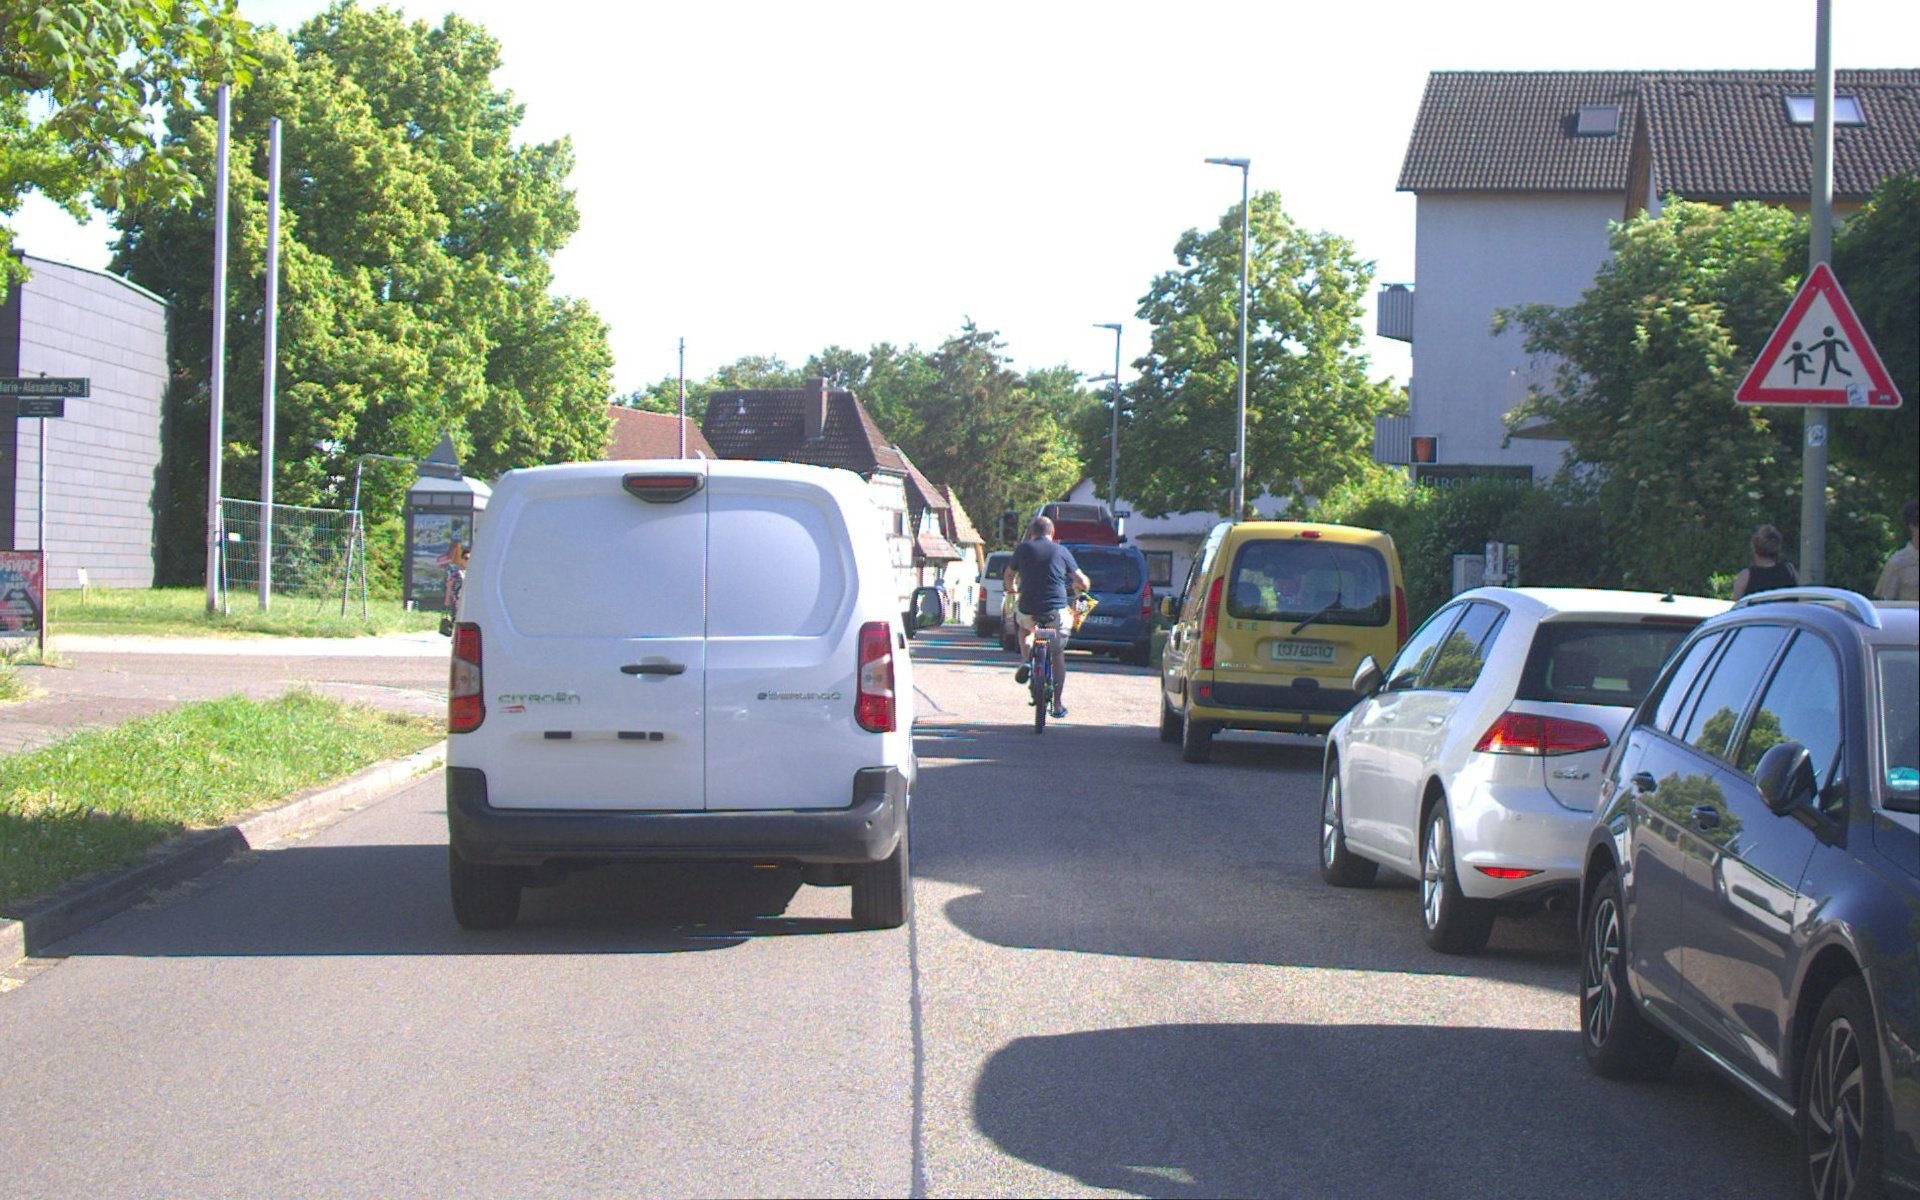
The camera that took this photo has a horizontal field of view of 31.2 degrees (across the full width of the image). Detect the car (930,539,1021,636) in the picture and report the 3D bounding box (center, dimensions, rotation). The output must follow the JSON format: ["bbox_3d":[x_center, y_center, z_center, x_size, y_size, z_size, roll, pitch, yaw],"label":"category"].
[{"bbox_3d":[0.337,-0.287,79.461,1.804,2.061,4.000,4,0,-2],"label":"car"}]

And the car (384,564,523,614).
[{"bbox_3d":[-16.120,-0.360,109.372,3.980,1.424,1.714,2,1,17],"label":"car"}]

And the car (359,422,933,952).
[{"bbox_3d":[-1.166,0.278,14.708,1.993,1.875,4.289,2,1,0],"label":"car"}]

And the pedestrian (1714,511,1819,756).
[{"bbox_3d":[5.473,0.220,23.352,0.567,1.631,0.546,2,1,5],"label":"pedestrian"}]

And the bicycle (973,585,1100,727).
[{"bbox_3d":[0.655,0.451,28.507,0.787,1.135,2.279,0,0,8],"label":"bicycle"}]

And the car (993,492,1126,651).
[{"bbox_3d":[1.699,-0.485,60.308,1.866,2.553,4.768,4,0,-2],"label":"car"}]

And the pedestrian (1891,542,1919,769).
[{"bbox_3d":[7.116,0.402,24.925,0.567,1.631,0.546,2,1,5],"label":"pedestrian"}]

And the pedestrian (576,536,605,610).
[{"bbox_3d":[-9.128,-0.671,84.880,0.621,1.799,0.640,2,0,-2],"label":"pedestrian"}]

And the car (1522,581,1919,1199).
[{"bbox_3d":[2.737,0.733,8.735,1.807,1.438,4.364,2,1,-1],"label":"car"}]

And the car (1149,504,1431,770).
[{"bbox_3d":[2.452,0.241,26.398,1.724,1.831,4.000,2,1,0],"label":"car"}]

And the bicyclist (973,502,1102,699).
[{"bbox_3d":[0.654,0.005,28.594,0.906,1.579,0.966,2,0,8],"label":"bicyclist"}]

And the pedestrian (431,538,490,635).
[{"bbox_3d":[-7.725,-0.206,53.170,0.510,1.441,0.638,5,1,32],"label":"pedestrian"}]

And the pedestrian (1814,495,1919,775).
[{"bbox_3d":[6.376,0.231,23.333,0.793,1.855,0.874,2,1,-8],"label":"pedestrian"}]

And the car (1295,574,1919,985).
[{"bbox_3d":[2.642,0.653,14.741,1.826,1.447,4.000,2,1,-2],"label":"car"}]

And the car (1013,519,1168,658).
[{"bbox_3d":[1.973,-0.177,53.084,1.804,1.779,4.000,10,0,-2],"label":"car"}]

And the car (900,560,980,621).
[{"bbox_3d":[-0.635,-0.284,112.379,1.805,1.836,3.998,4,0,10],"label":"car"}]
